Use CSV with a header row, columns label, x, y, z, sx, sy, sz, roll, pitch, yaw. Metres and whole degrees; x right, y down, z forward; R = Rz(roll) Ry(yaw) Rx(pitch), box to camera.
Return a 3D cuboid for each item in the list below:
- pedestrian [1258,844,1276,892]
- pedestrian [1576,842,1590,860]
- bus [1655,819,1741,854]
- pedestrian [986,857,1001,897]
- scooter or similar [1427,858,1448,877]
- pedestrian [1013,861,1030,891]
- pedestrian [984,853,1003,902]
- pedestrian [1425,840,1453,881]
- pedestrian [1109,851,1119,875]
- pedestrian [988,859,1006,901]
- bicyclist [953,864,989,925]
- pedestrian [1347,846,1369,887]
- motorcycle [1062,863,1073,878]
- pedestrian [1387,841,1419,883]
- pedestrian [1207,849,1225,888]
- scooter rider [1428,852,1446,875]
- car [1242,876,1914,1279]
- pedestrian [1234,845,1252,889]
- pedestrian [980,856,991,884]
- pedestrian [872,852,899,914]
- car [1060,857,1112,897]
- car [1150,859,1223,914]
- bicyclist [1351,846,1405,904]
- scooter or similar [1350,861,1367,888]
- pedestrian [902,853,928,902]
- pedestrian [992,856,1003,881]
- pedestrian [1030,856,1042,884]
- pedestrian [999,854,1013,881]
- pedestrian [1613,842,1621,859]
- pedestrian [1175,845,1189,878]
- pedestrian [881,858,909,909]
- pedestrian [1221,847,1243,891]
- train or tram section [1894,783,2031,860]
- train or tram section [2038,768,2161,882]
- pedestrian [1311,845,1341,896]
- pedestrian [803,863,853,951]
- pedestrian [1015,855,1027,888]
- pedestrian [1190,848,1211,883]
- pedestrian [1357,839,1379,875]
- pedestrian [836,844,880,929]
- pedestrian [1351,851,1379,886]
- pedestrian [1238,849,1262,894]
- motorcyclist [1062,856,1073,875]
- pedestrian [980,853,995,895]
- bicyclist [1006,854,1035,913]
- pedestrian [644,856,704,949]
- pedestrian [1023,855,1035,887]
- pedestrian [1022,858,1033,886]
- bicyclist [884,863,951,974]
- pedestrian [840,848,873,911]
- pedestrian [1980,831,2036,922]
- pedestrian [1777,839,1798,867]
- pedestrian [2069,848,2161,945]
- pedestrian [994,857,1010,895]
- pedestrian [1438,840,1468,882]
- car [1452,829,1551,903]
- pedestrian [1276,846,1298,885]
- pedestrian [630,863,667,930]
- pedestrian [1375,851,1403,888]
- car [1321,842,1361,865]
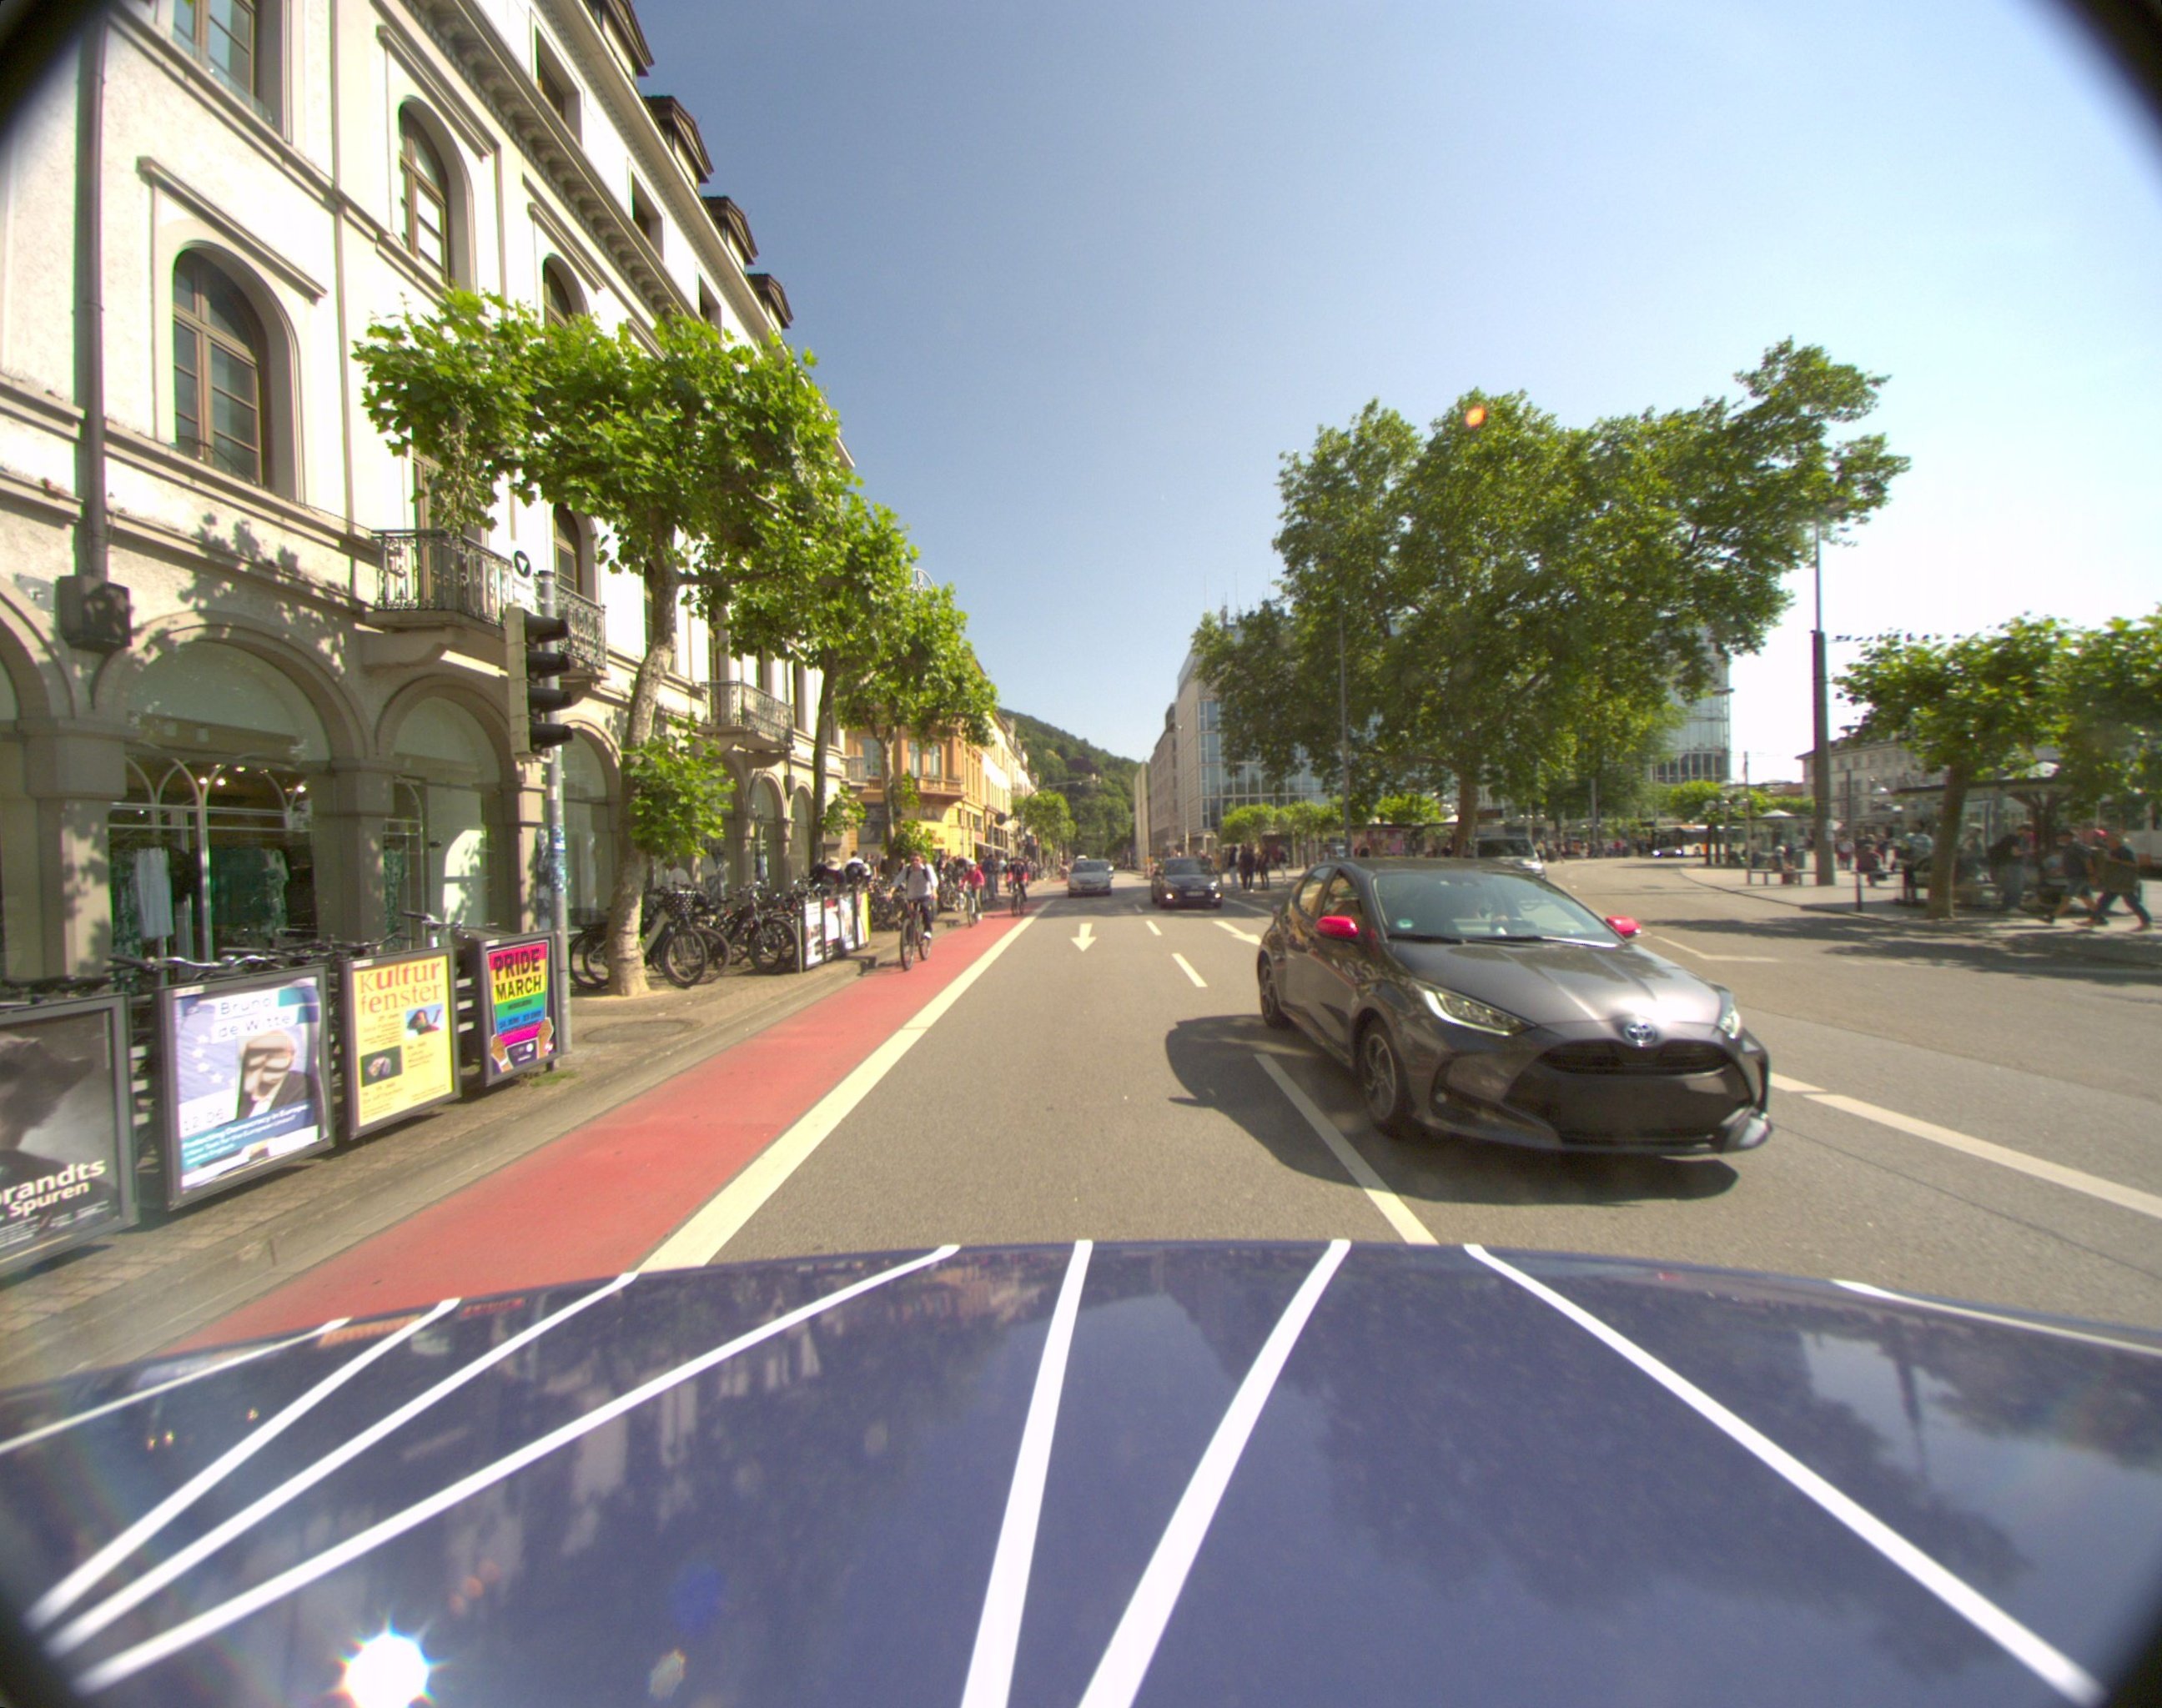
label,x,y,z,sx,sy,sz,roll,pitch,yaw
pedestrian,7.181,0.544,29.394,0.517,1.825,0.716,-3,1,8
pedestrian,42.288,-0.264,63.990,0.555,1.464,0.758,-3,1,0
bus,59.159,-1.728,72.699,12.201,2.774,2.385,-3,1,-31
pedestrian,-3.666,0.949,31.942,0.569,1.675,0.591,0,1,-2
scooter or similar,13.135,0.505,27.979,0.579,0.643,0.787,-3,1,34
pedestrian,-3.014,1.106,38.550,0.672,1.488,0.637,-3,1,-13
pedestrian,-3.342,0.889,29.021,0.578,1.835,0.717,-3,1,-2
pedestrian,15.678,0.297,33.295,0.752,1.737,0.782,-3,1,-9
pedestrian,2.556,0.677,58.154,0.699,1.774,0.578,0,1,-5
pedestrian,-3.453,1.047,31.307,0.578,1.675,0.622,-3,1,-2
bicyclist,-2.621,0.955,18.165,0.690,1.388,0.778,-3,1,-1
pedestrian,12.344,0.546,33.832,0.750,1.737,0.784,-3,1,27
motorcycle,-1.062,1.316,60.079,0.736,1.086,1.898,-3,0,1
pedestrian,12.672,0.306,29.918,0.752,1.587,0.782,-3,1,-9
pedestrian,6.105,0.638,34.492,0.612,1.737,0.752,-2,1,-1
scooter rider,13.202,0.346,28.168,0.506,0.834,0.349,-3,1,34
car,2.417,0.949,5.038,1.782,1.466,3.999,0,0,-1
pedestrian,6.845,0.553,32.051,0.595,1.835,0.738,0,1,-1
pedestrian,-5.693,0.940,45.391,0.578,1.650,0.621,-1,0,-11
pedestrian,-5.992,0.878,23.320,0.546,1.871,0.602,-3,1,-1
car,0.253,0.898,31.171,1.918,1.401,4.000,-3,0,2
car,3.073,0.907,22.778,1.699,1.397,4.000,-2,0,2
bicyclist,8.054,0.564,20.634,0.831,1.489,1.160,-3,1,-10
scooter or similar,12.099,0.900,33.171,0.567,1.113,0.539,-3,1,28
pedestrian,-5.949,0.831,27.280,0.676,1.730,0.754,-3,1,-1
pedestrian,-5.729,1.015,52.076,0.688,1.674,0.578,-2,0,-14
pedestrian,-2.955,1.049,49.792,0.651,1.770,0.621,0,2,-12
pedestrian,-5.124,0.928,52.120,0.758,1.782,0.859,-2,0,-16
pedestrian,48.373,-0.338,68.576,0.554,1.464,0.759,-3,1,37
pedestrian,5.885,0.436,44.339,0.639,1.903,0.733,-3,1,-1
pedestrian,-6.664,1.047,27.271,0.721,1.772,0.776,-3,1,-1
pedestrian,6.147,0.610,30.997,0.537,1.773,0.745,-3,1,35
train or tram section,49.937,-1.811,43.383,2.615,3.805,9.536,-3,0,34
train or tram section,39.321,-1.155,27.768,2.615,3.805,9.536,-3,0,34
pedestrian,8.401,0.566,26.063,0.643,1.681,0.642,-3,1,-13
pedestrian,-4.617,0.950,13.886,0.606,1.529,0.667,-3,1,-1
pedestrian,-3.119,0.919,39.389,0.578,1.719,0.718,1,-2,-7
pedestrian,6.108,0.600,38.926,0.876,1.737,0.733,-3,1,-1
pedestrian,14.410,0.135,38.157,0.751,1.737,0.782,-3,1,-1
pedestrian,-5.160,0.745,17.609,0.702,1.891,0.776,-3,1,-1
pedestrian,11.772,0.599,31.525,0.752,1.399,0.782,-3,1,-9
pedestrian,6.461,0.668,29.081,0.630,1.639,0.753,-3,1,27
motorcyclist,-1.073,0.919,60.085,0.736,1.446,0.707,-3,1,1
pedestrian,-4.021,0.852,32.627,0.578,1.774,0.699,0,1,-2
bicyclist,-1.662,0.811,21.039,0.690,1.567,0.778,-3,1,-2
pedestrian,-7.680,0.893,14.364,0.658,1.686,0.676,-3,1,2
pedestrian,-3.052,0.973,44.375,0.578,1.863,0.680,1,0,-11
pedestrian,-3.282,1.076,46.277,0.578,1.674,0.676,0,0,-11
bicyclist,-2.455,0.949,11.479,0.750,1.567,0.778,-3,1,-1
pedestrian,-6.564,0.733,22.222,0.635,1.782,0.776,-3,1,-1
pedestrian,18.756,0.449,15.386,0.626,1.783,0.678,1,0,-41
pedestrian,37.442,-0.042,40.287,0.554,1.464,0.532,-3,1,8
pedestrian,16.757,0.677,12.297,0.624,1.515,0.680,1,0,1
pedestrian,-3.531,0.965,33.948,0.578,1.675,0.669,-3,1,-2
pedestrian,15.830,0.308,32.347,0.752,1.737,0.782,-3,1,-9
car,12.926,0.298,23.664,1.996,2.002,5.074,-3,0,22
pedestrian,9.649,0.536,35.653,0.751,1.737,0.667,-3,1,-1
pedestrian,-10.203,1.001,17.940,0.504,1.525,0.538,-3,1,-6
pedestrian,12.434,0.618,30.721,0.752,1.416,0.673,-3,1,-9
car,24.746,-0.032,72.387,1.999,2.002,3.998,-3,0,-6
